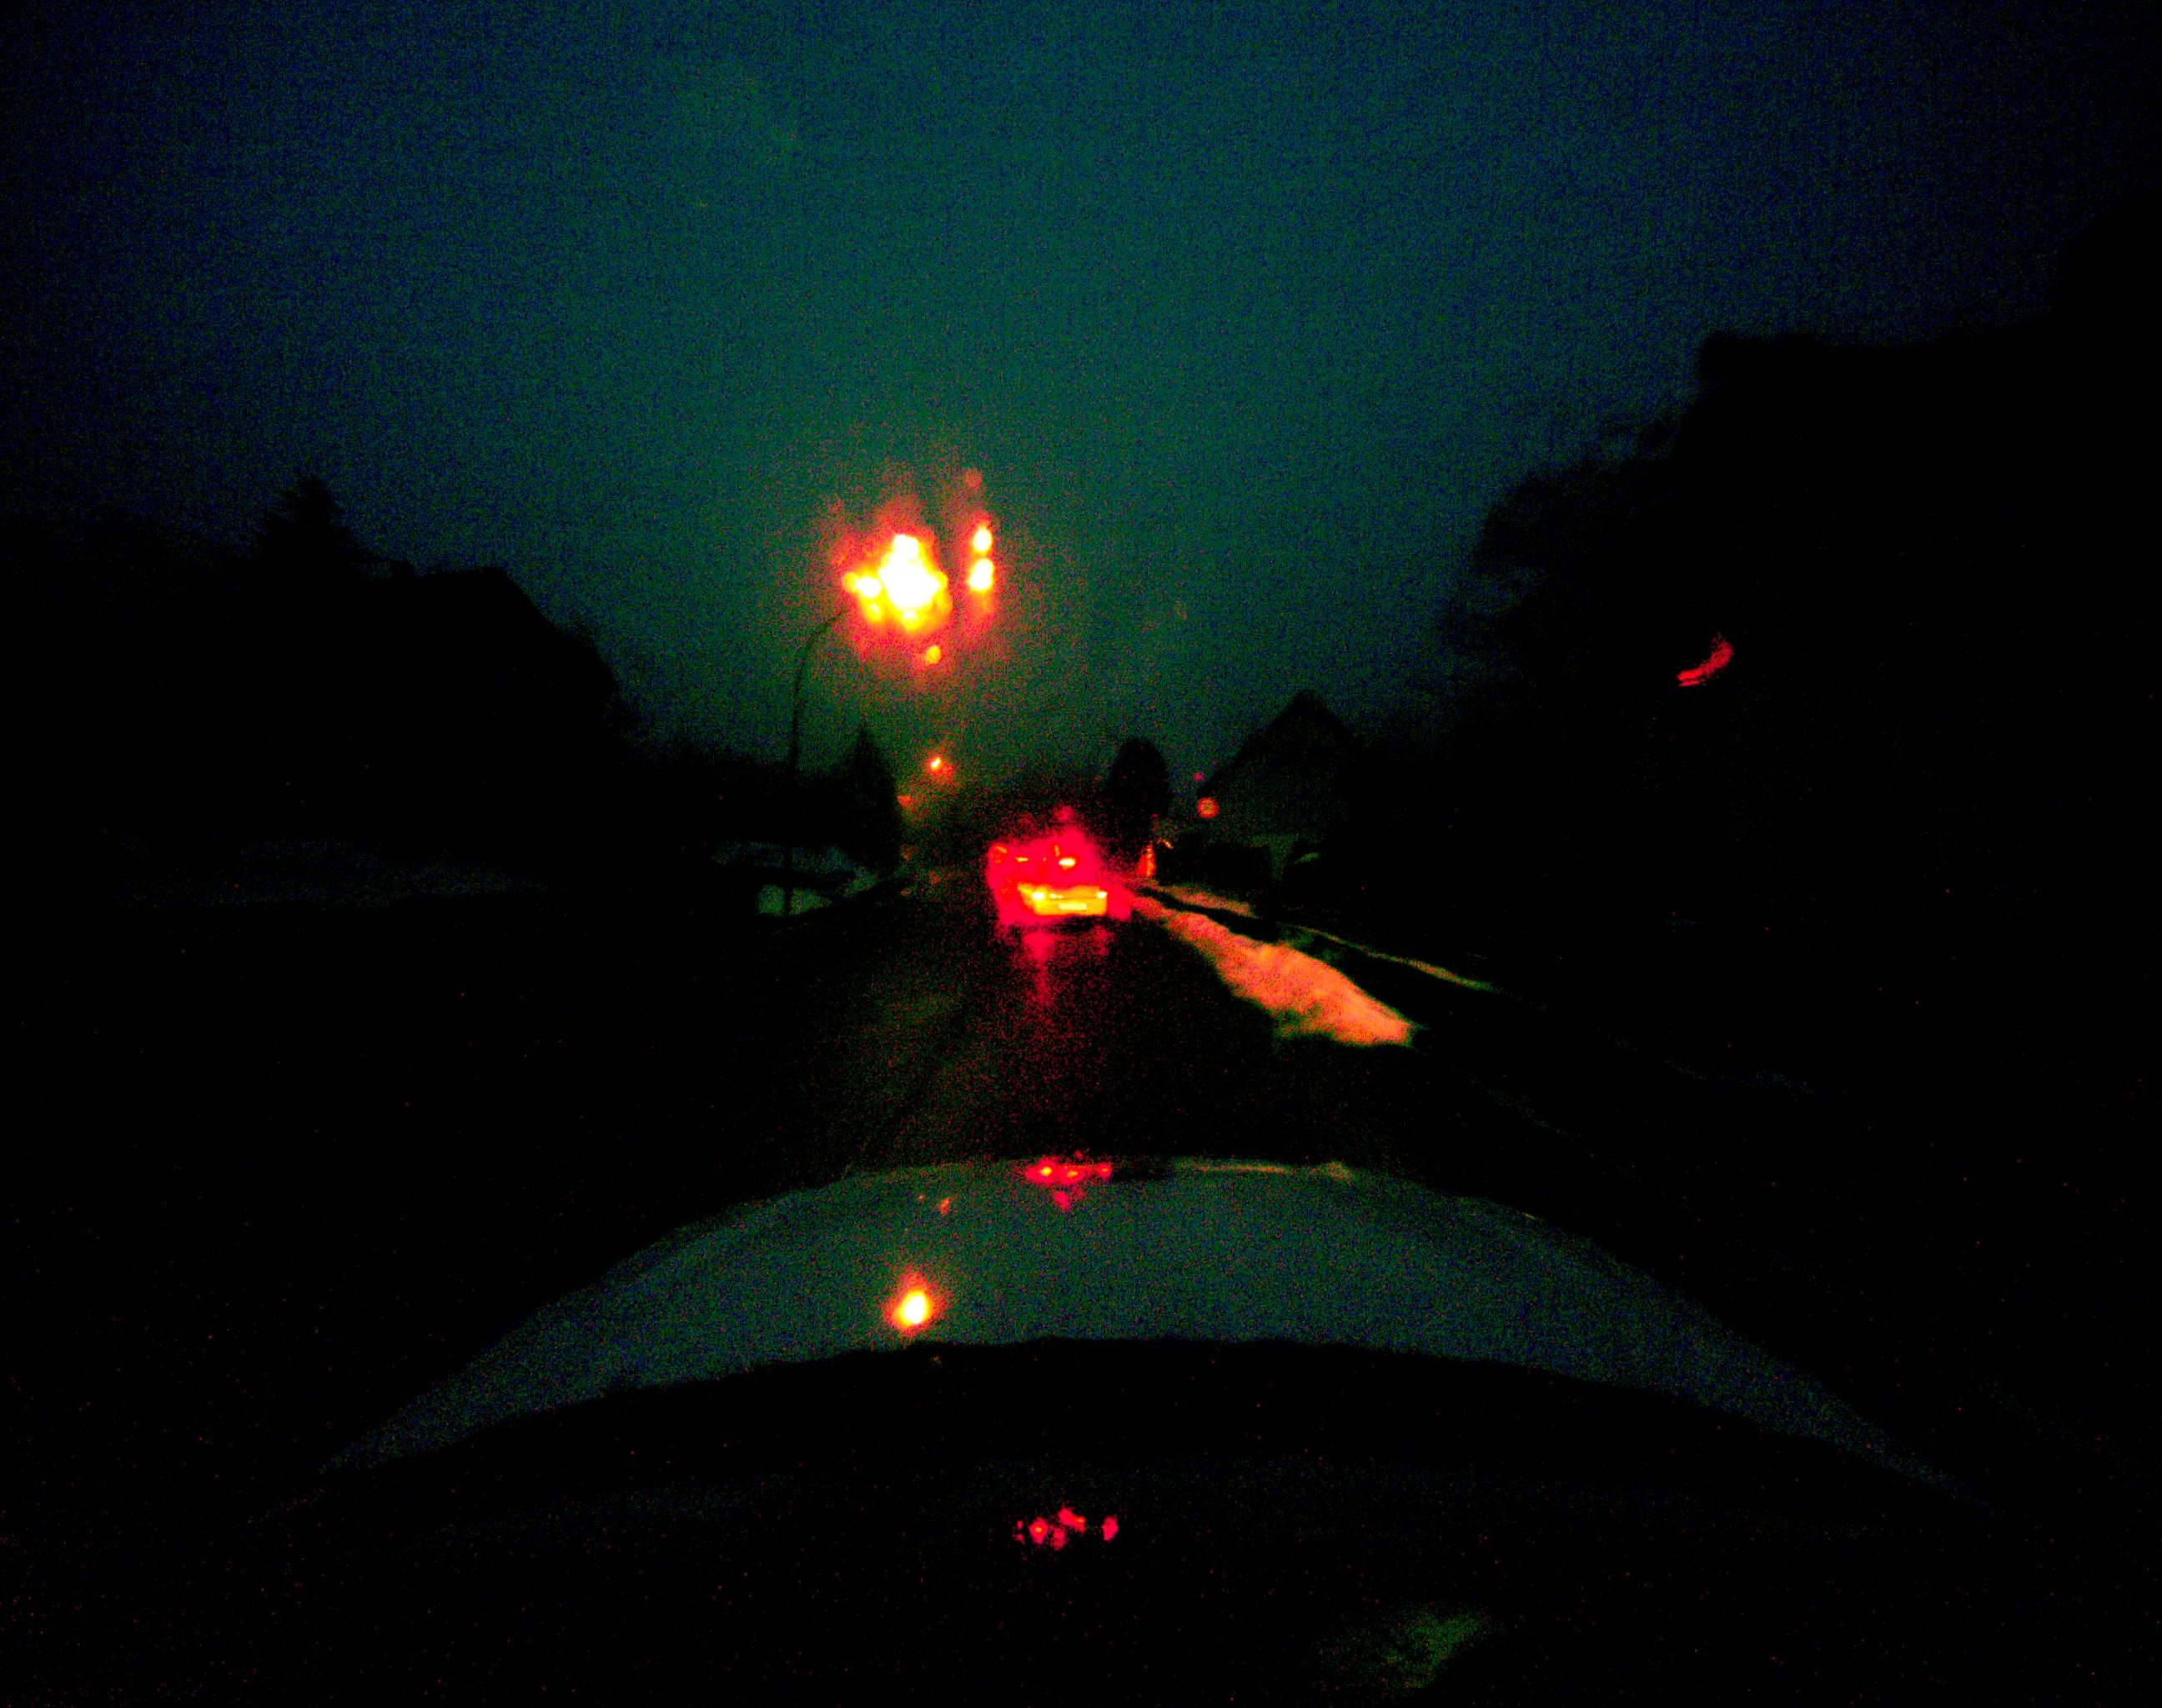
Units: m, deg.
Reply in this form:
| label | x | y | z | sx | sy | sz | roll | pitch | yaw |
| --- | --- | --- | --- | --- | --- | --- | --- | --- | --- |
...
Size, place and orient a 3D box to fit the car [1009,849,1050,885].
| label | x | y | z | sx | sy | sz | roll | pitch | yaw |
| --- | --- | --- | --- | --- | --- | --- | --- | --- | --- |
| car | -2.646 | 0.674 | 42.006 | 1.990 | 1.737 | 3.873 | -1 | -1 | -4 |

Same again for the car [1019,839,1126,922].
| label | x | y | z | sx | sy | sz | roll | pitch | yaw |
| --- | --- | --- | --- | --- | --- | --- | --- | --- | --- |
| car | -0.309 | 0.576 | 18.279 | 1.896 | 1.609 | 3.988 | -1 | -1 | -8 |
